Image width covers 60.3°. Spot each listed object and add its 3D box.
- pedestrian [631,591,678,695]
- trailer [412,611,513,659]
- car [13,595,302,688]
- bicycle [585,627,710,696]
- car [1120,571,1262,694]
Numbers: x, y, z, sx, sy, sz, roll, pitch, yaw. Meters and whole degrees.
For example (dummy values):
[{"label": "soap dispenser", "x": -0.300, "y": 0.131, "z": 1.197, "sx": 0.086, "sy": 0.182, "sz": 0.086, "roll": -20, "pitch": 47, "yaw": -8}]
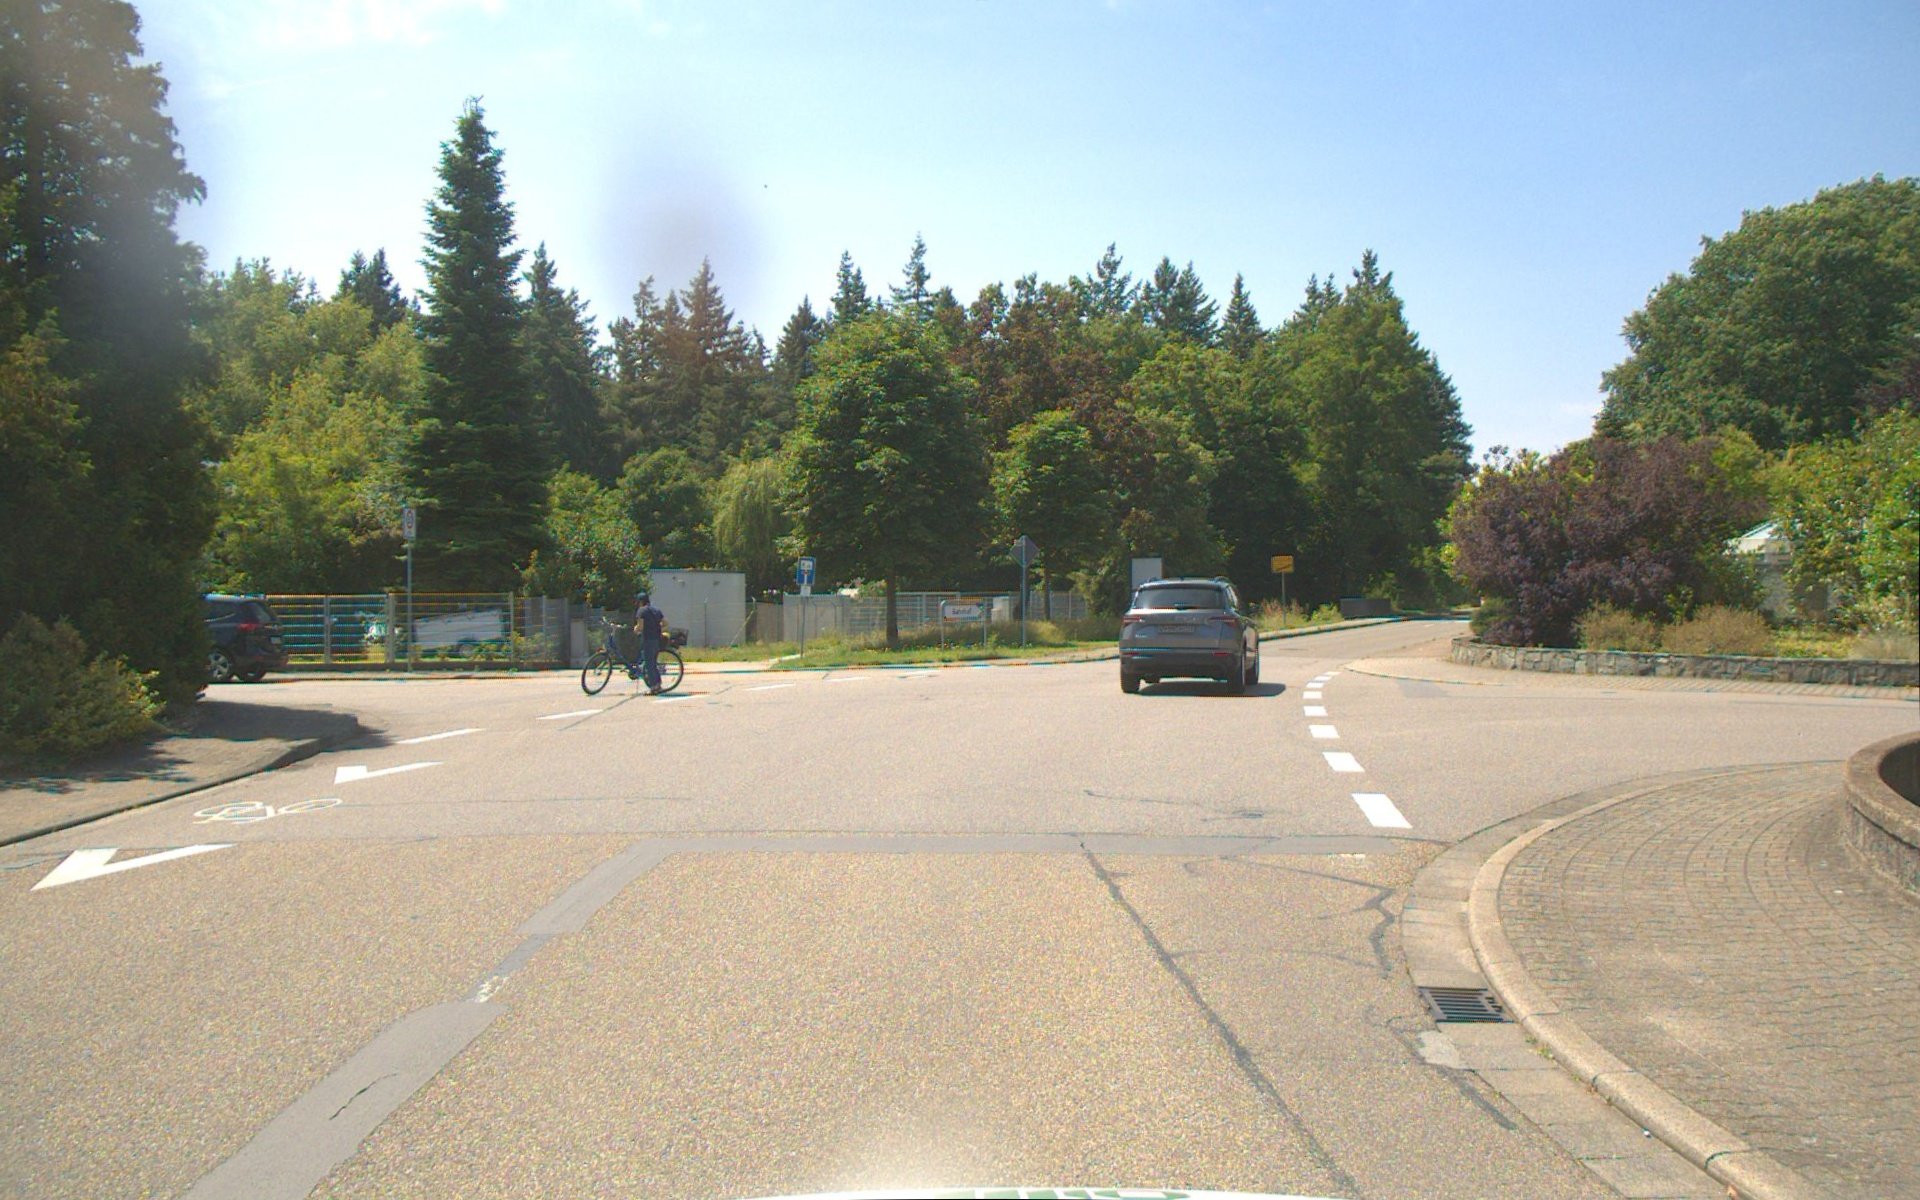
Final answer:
[{"label": "pedestrian", "x": -4.578, "y": 0.634, "z": 24.758, "sx": 0.601, "sy": 1.527, "sz": 0.501, "roll": 0, "pitch": 0, "yaw": -21}, {"label": "trailer", "x": -11.867, "y": 0.826, "z": 39.549, "sx": 2.175, "sy": 1.103, "sz": 1.103, "roll": -1, "pitch": 0, "yaw": -11}, {"label": "car", "x": -15.325, "y": 0.765, "z": 31.780, "sx": 4.573, "sy": 1.691, "sz": 1.969, "roll": -1, "pitch": 0, "yaw": -2}, {"label": "bicycle", "x": -4.761, "y": 0.928, "z": 25.211, "sx": 1.816, "sy": 0.980, "sz": 0.440, "roll": -1, "pitch": 0, "yaw": -22}, {"label": "car", "x": 3.497, "y": 0.440, "z": 24.469, "sx": 1.725, "sy": 1.646, "sz": 4.003, "roll": 1, "pitch": 0, "yaw": 13}]
